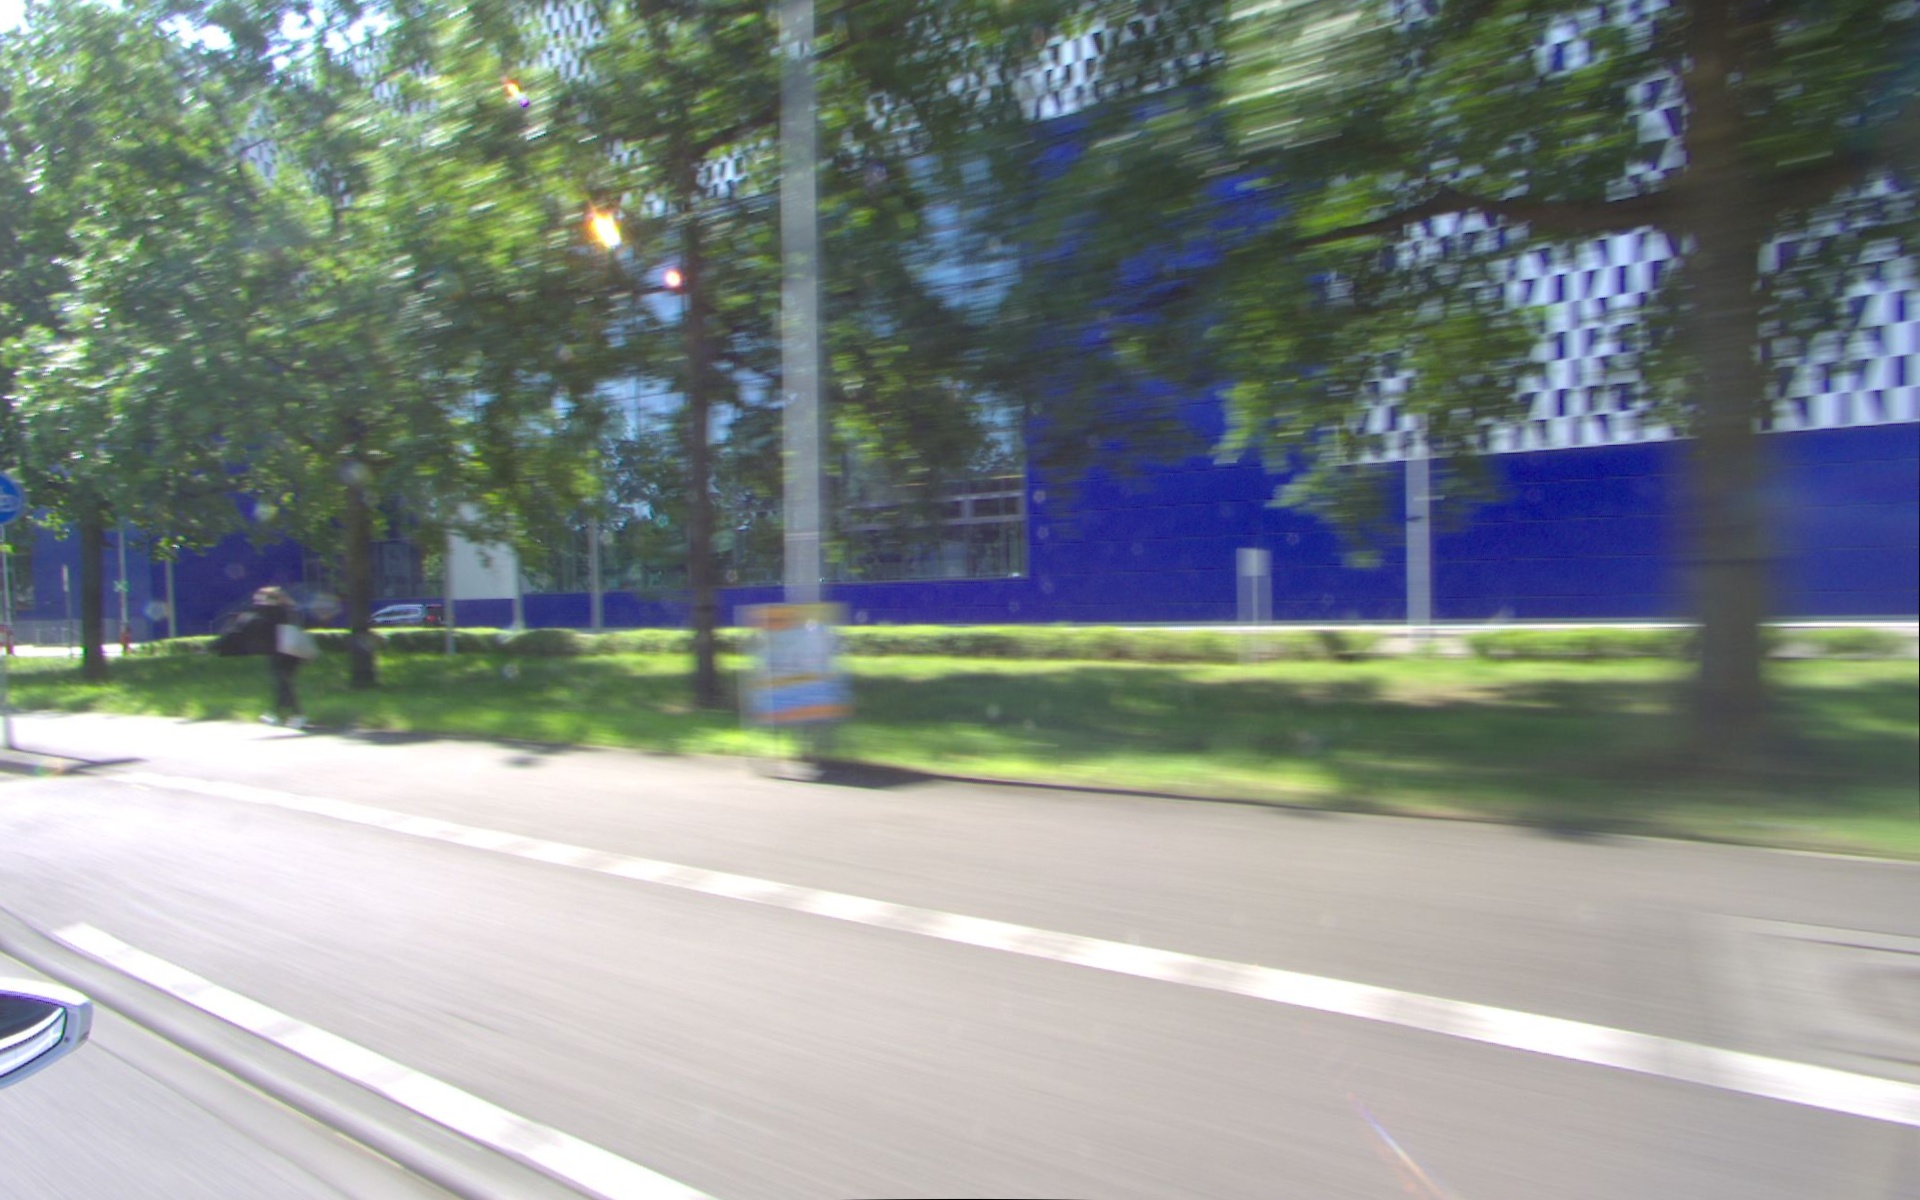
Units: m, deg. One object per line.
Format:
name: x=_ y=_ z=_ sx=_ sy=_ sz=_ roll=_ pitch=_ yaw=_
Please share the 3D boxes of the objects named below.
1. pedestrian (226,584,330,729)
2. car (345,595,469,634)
pedestrian: x=-7.935 y=0.632 z=11.654 sx=0.834 sy=1.625 sz=0.646 roll=-1 pitch=1 yaw=29
car: x=-23.135 y=0.594 z=41.970 sx=4.291 sy=1.540 sz=1.910 roll=-1 pitch=1 yaw=11
